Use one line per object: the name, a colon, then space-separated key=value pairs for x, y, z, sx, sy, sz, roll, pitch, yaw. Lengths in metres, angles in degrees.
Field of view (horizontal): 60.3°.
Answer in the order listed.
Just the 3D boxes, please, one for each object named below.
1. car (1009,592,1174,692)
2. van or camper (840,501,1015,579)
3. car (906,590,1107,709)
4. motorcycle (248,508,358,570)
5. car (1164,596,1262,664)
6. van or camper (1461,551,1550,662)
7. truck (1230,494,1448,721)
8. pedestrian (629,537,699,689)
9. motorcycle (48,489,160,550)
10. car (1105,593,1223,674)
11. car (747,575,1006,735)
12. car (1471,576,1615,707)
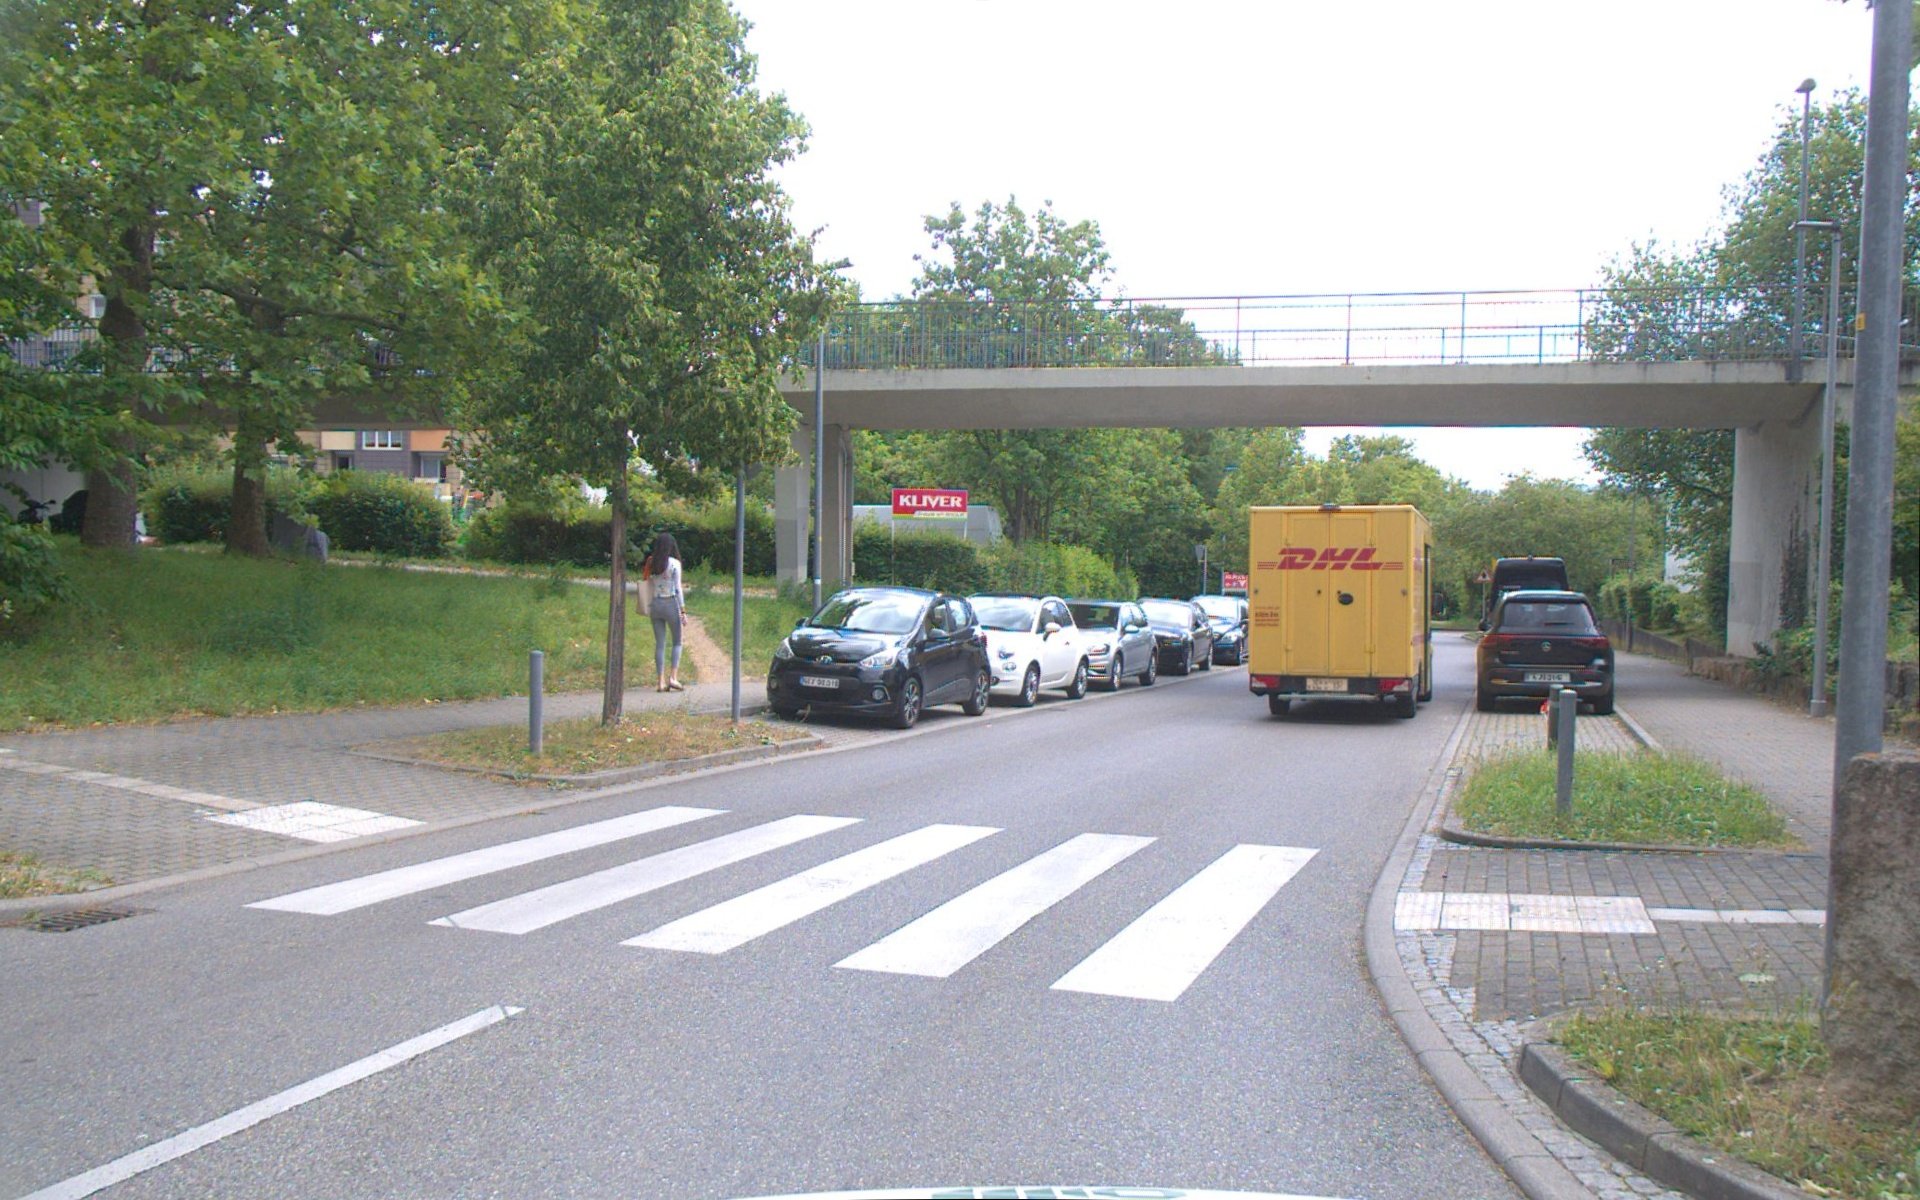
car: x=2.342 y=0.666 z=28.517 sx=1.845 sy=1.452 sz=4.002 roll=2 pitch=2 yaw=19
van or camper: x=-0.927 y=-1.771 z=48.667 sx=4.751 sy=2.122 sz=2.002 roll=2 pitch=2 yaw=14
car: x=0.747 y=0.655 z=23.688 sx=1.845 sy=1.485 sz=3.547 roll=3 pitch=1 yaw=19
motorcycle: x=-14.063 y=-1.297 z=35.470 sx=0.869 sy=1.292 sz=2.039 roll=3 pitch=2 yaw=36
car: x=6.279 y=0.700 z=40.773 sx=1.845 sy=1.586 sz=3.840 roll=-1 pitch=0 yaw=17
van or camper: x=13.616 y=0.178 z=41.321 sx=1.952 sy=2.567 sz=5.473 roll=-1 pitch=-1 yaw=18
truck: x=5.655 y=0.058 z=23.832 sx=2.414 sy=2.749 sz=6.827 roll=2 pitch=1 yaw=18
pedestrian: x=-3.498 y=0.142 z=19.568 sx=0.723 sy=1.751 sz=0.659 roll=1 pitch=2 yaw=-6
motorcycle: x=-18.888 y=-1.763 z=36.550 sx=0.865 sy=1.292 sz=2.318 roll=2 pitch=2 yaw=14
car: x=4.402 y=0.660 z=35.084 sx=1.845 sy=1.535 sz=4.455 roll=2 pitch=1 yaw=15
car: x=-0.849 y=0.542 z=19.428 sx=1.749 sy=1.493 sz=4.003 roll=5 pitch=3 yaw=16
car: x=8.441 y=0.654 z=24.235 sx=1.775 sy=1.708 sz=4.371 roll=1 pitch=-3 yaw=17
